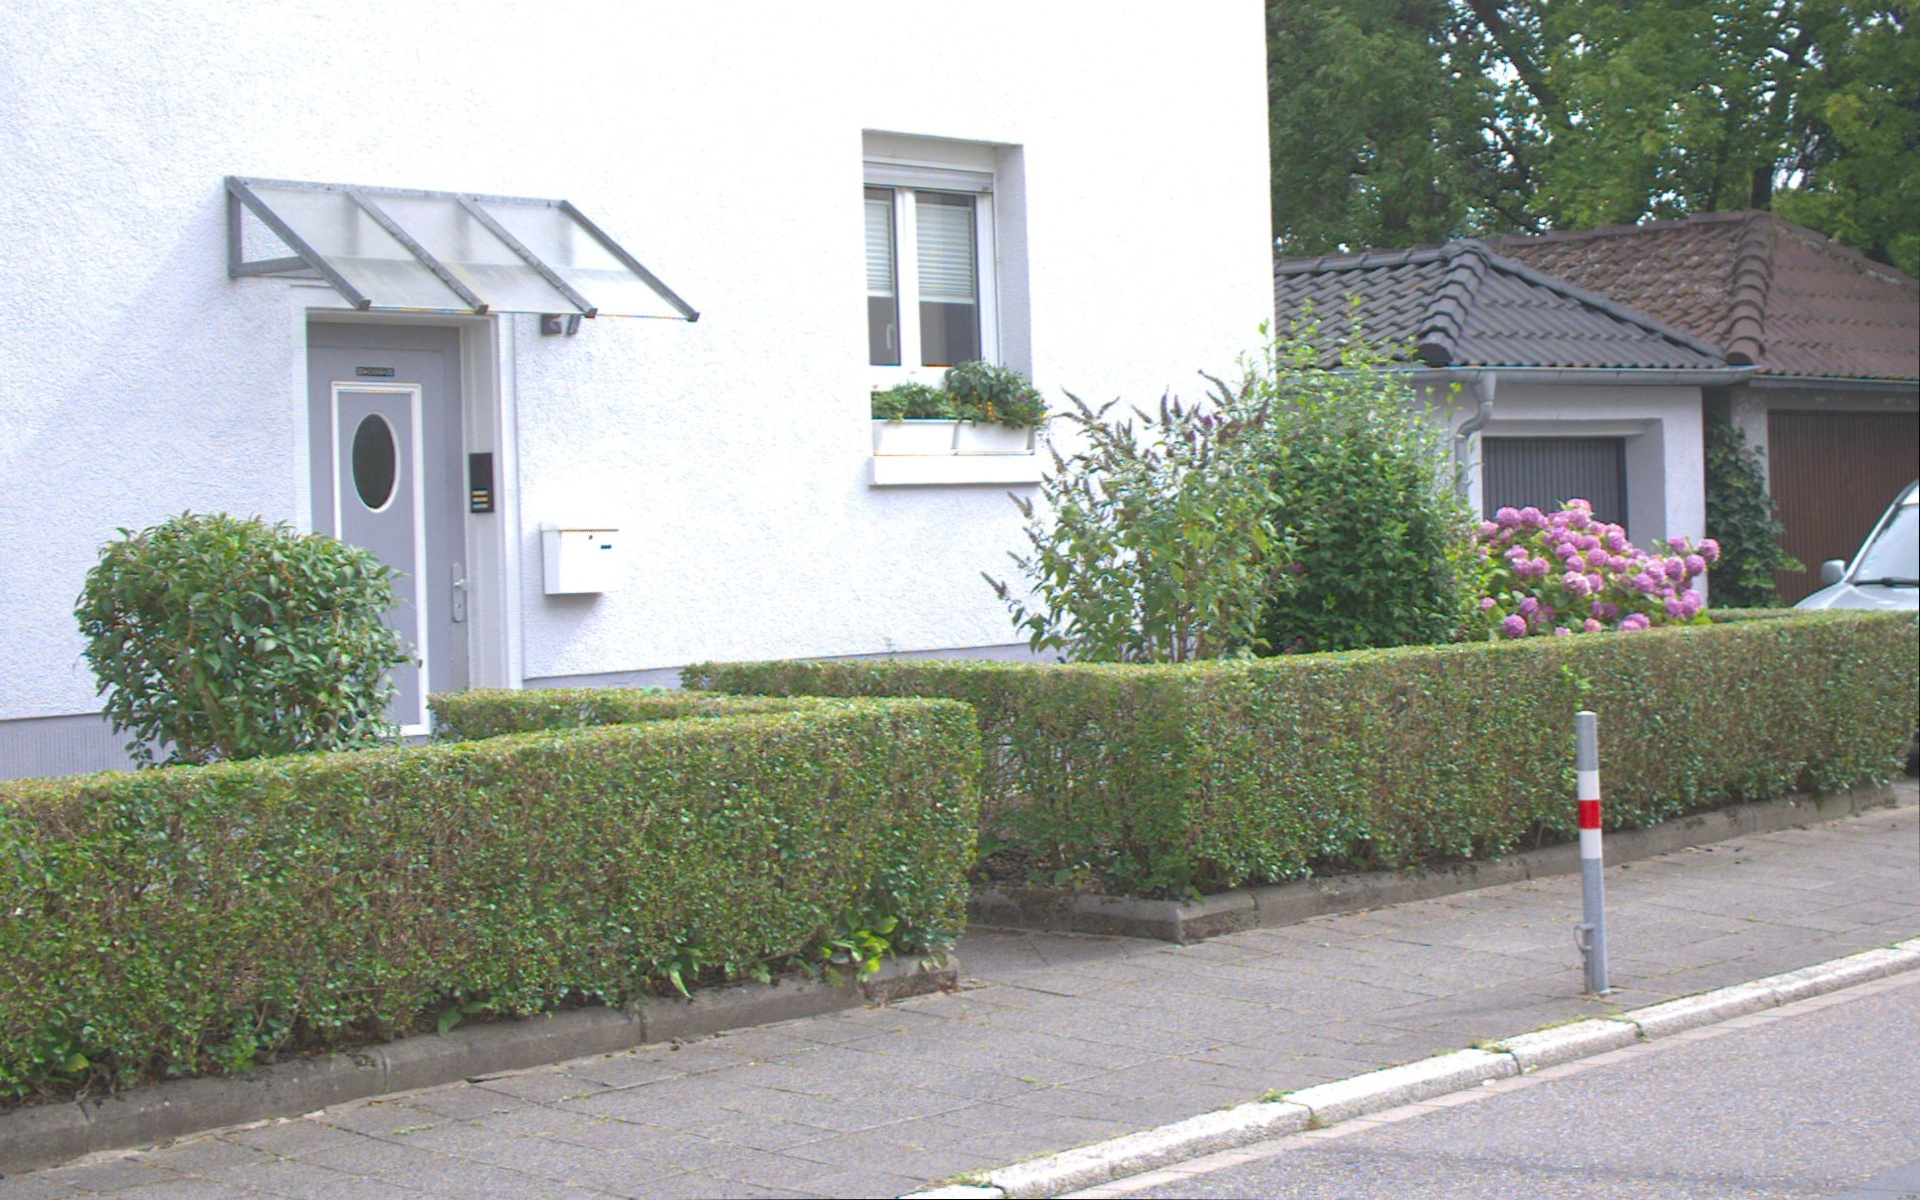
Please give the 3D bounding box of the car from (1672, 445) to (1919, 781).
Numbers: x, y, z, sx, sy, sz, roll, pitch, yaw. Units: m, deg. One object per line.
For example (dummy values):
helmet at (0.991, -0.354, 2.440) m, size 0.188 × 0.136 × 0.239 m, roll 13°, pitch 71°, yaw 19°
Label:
car at (6.190, 0.000, 20.551) m, size 1.998 × 1.831 × 3.990 m, roll -1°, pitch 2°, yaw 42°
